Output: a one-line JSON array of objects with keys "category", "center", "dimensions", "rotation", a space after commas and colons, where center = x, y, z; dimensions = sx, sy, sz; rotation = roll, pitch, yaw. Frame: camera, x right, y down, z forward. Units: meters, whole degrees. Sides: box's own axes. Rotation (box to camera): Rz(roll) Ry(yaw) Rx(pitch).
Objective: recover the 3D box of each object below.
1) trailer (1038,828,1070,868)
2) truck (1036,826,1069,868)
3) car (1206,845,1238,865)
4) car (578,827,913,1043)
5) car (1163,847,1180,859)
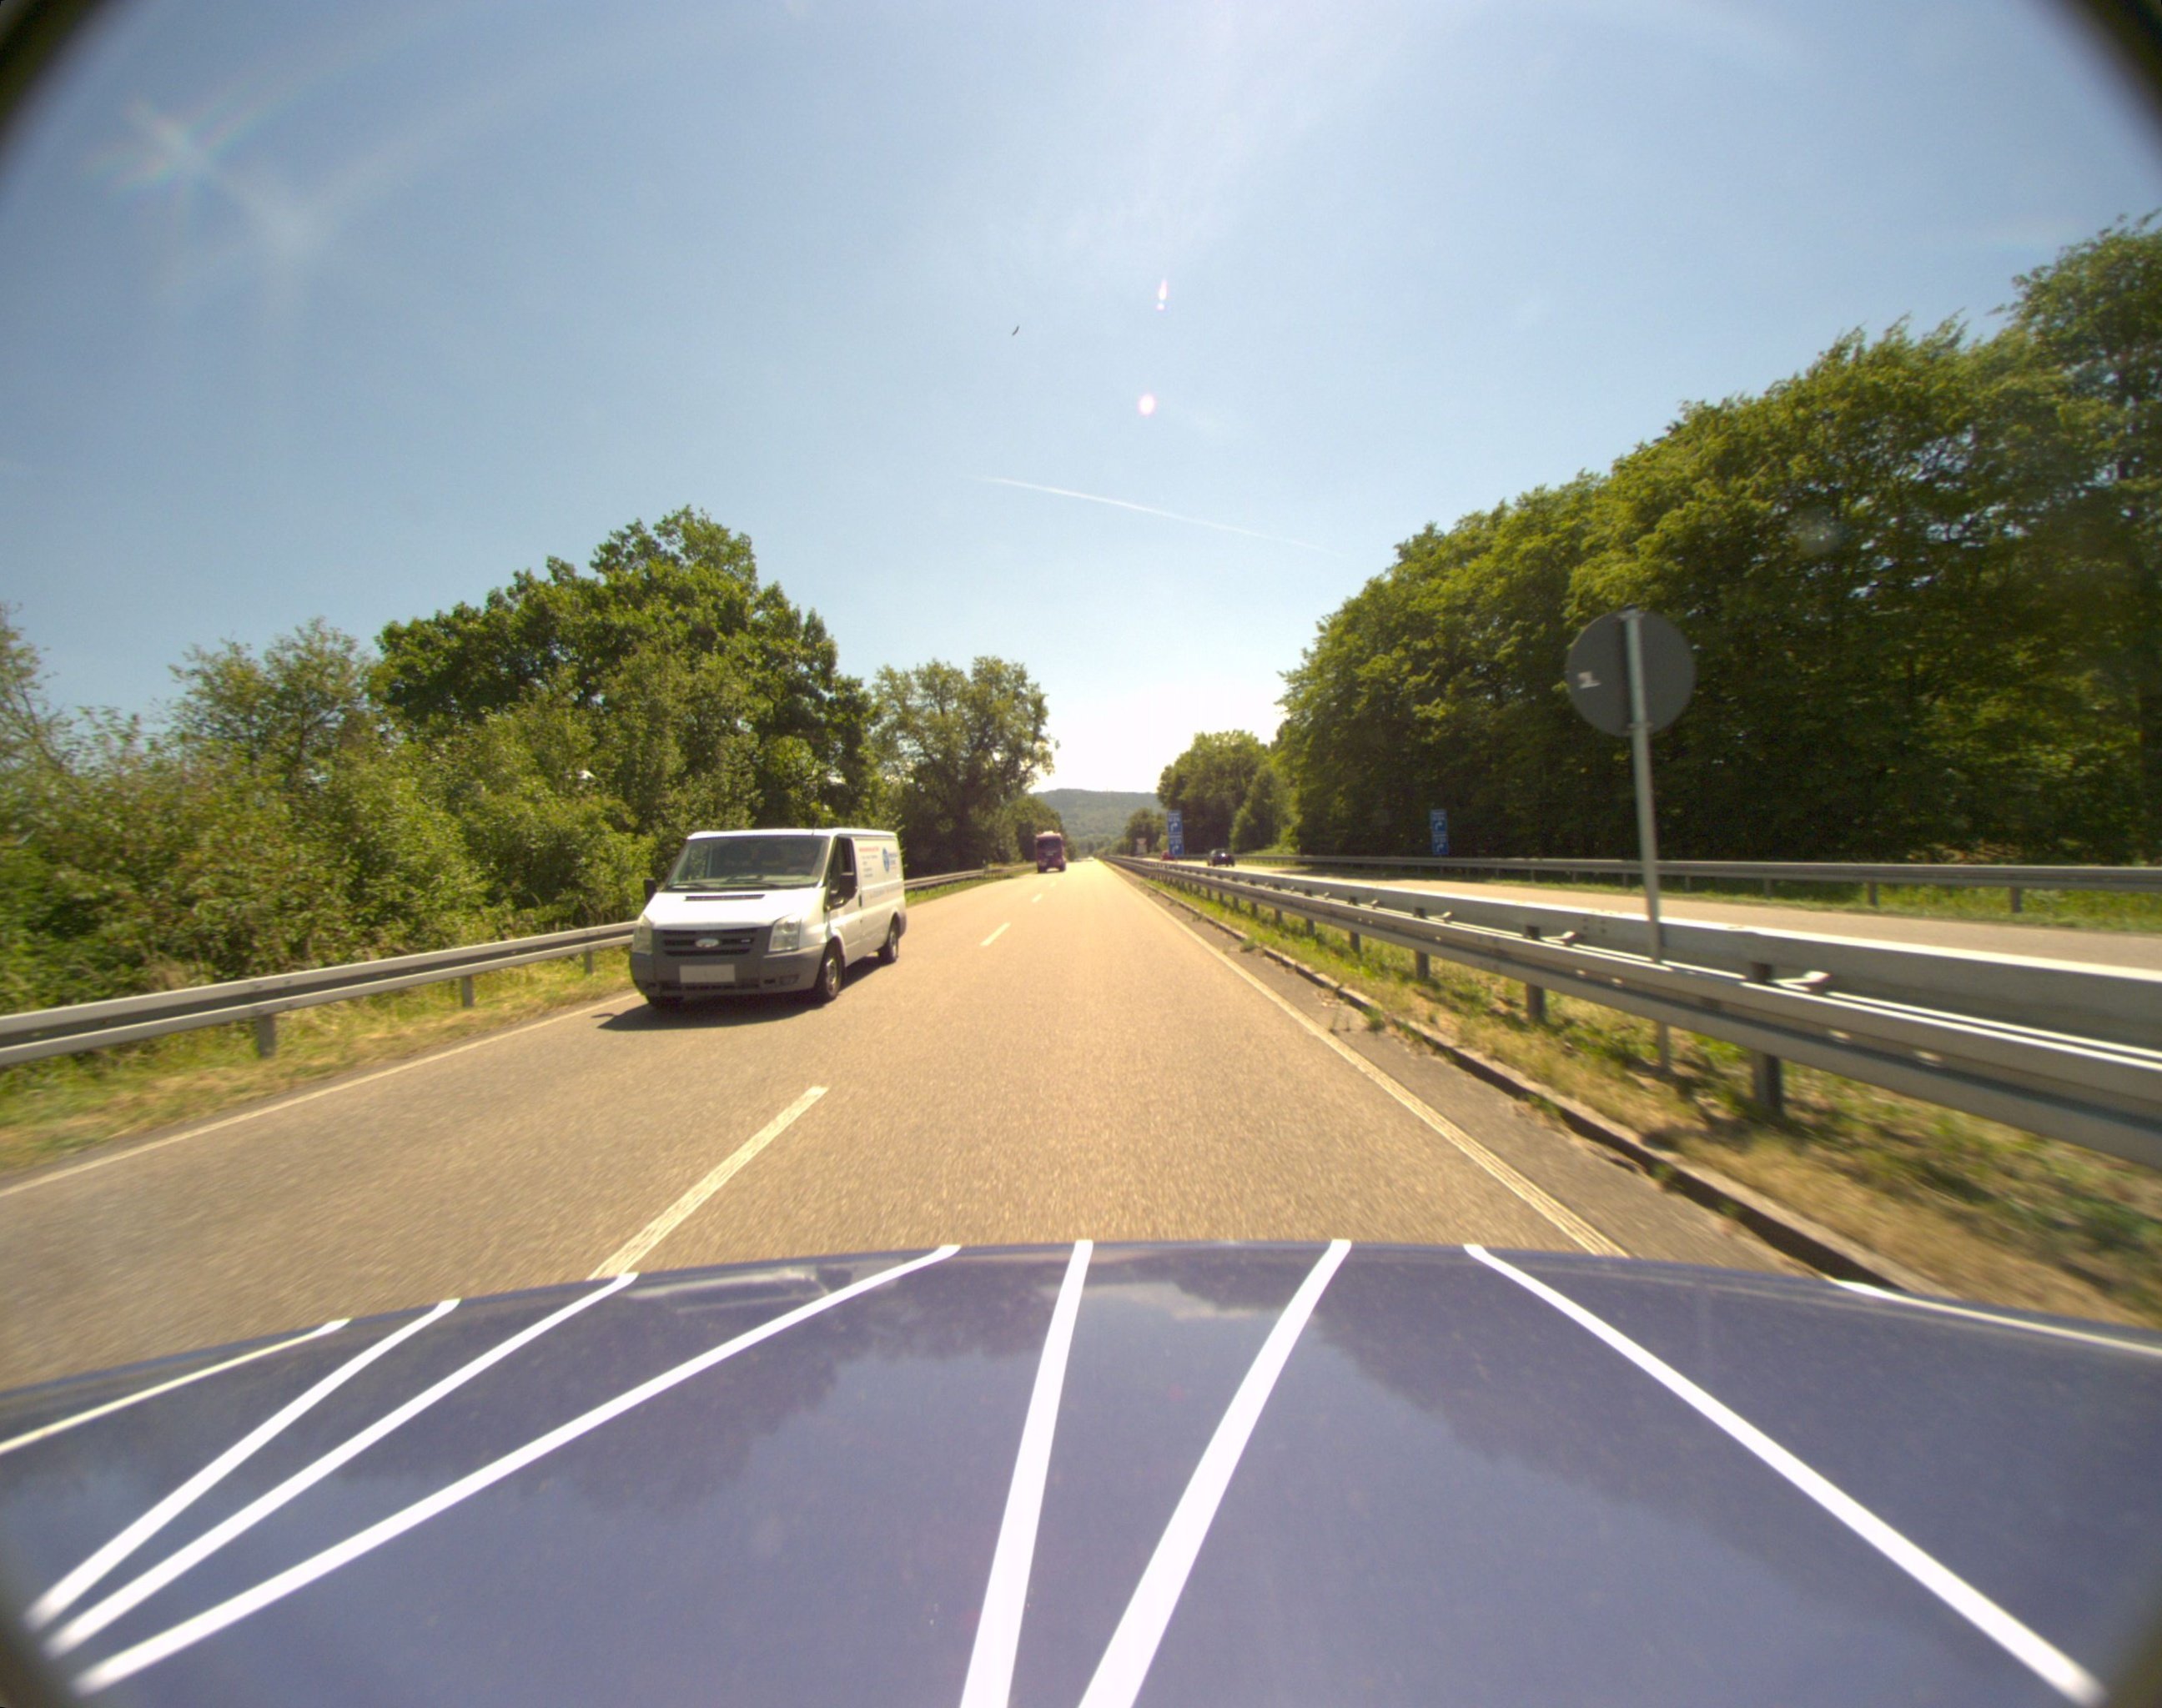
[{"category": "trailer", "center": [-2.634, -0.534, 77.024], "dimensions": [2.605, 3.607, 8.615], "rotation": [-5, -1, 0]}, {"category": "truck", "center": [-2.640, -0.599, 72.548], "dimensions": [2.605, 3.669, 5.939], "rotation": [-5, -1, 0]}, {"category": "car", "center": [11.008, 0.080, 59.463], "dimensions": [1.802, 1.459, 3.773], "rotation": [-3, 0, 1]}, {"category": "car", "center": [-3.732, 0.744, 9.727], "dimensions": [2.011, 1.977, 5.033], "rotation": [-2, 1, -1]}, {"category": "car", "center": [12.055, -0.136, 101.580], "dimensions": [1.780, 1.411, 4.575], "rotation": [-3, 1, 2]}]
